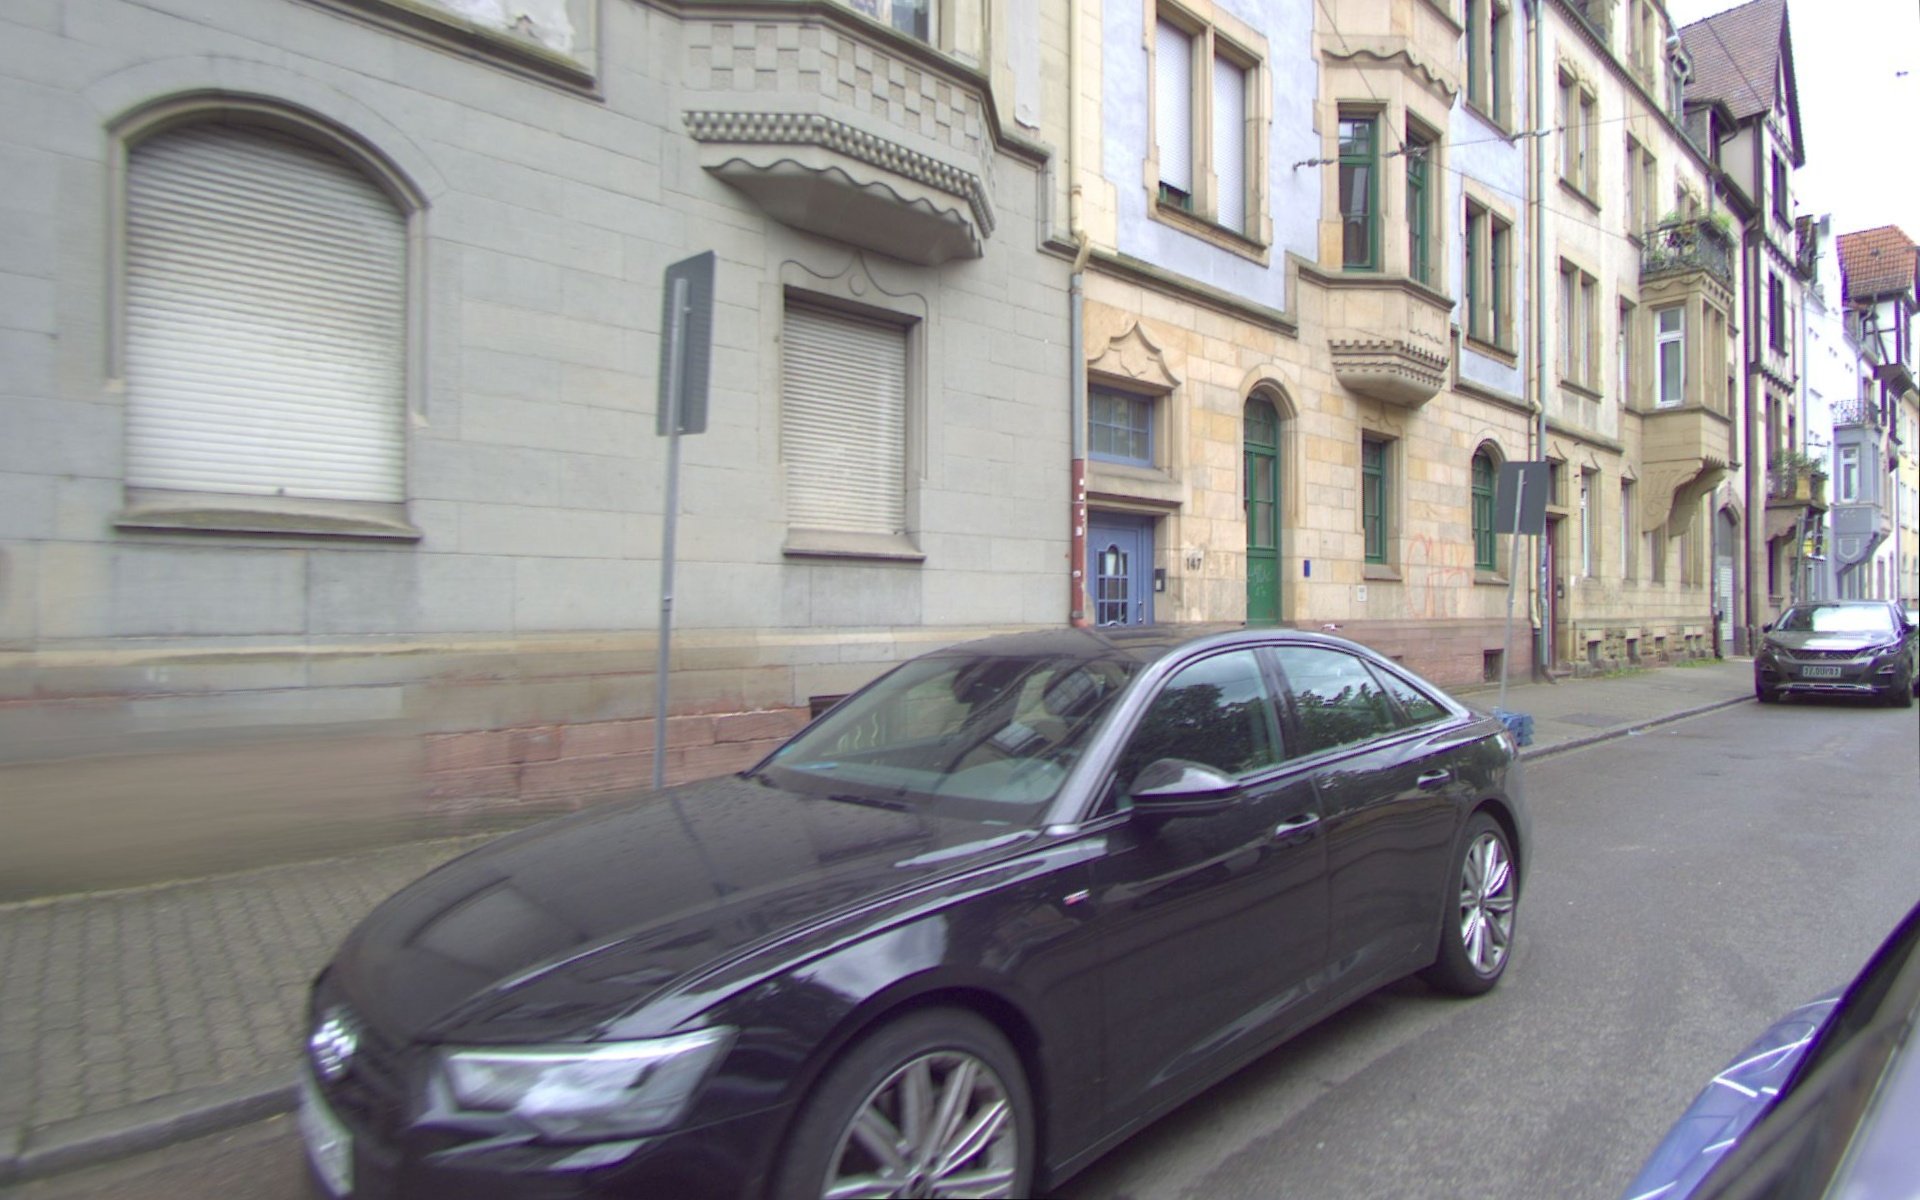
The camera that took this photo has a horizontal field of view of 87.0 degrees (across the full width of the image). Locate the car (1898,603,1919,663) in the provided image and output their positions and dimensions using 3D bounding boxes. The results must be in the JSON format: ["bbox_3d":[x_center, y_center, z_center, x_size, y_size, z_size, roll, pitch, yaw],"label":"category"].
[{"bbox_3d":[26.791,0.835,27.314,4.316,1.533,1.699,0,-4,-42],"label":"car"}]

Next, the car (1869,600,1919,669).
[{"bbox_3d":[23.071,0.776,24.065,4.345,1.533,1.699,0,-4,-43],"label":"car"}]

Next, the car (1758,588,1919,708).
[{"bbox_3d":[14.237,0.674,16.063,4.614,1.643,1.761,0,-1,-43],"label":"car"}]

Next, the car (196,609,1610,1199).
[{"bbox_3d":[0.501,0.767,3.668,5.105,1.456,1.803,0,-1,-42],"label":"car"}]

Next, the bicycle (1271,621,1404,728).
[{"bbox_3d":[4.449,0.840,11.862,1.883,1.141,0.611,0,-4,-42],"label":"bicycle"}]
